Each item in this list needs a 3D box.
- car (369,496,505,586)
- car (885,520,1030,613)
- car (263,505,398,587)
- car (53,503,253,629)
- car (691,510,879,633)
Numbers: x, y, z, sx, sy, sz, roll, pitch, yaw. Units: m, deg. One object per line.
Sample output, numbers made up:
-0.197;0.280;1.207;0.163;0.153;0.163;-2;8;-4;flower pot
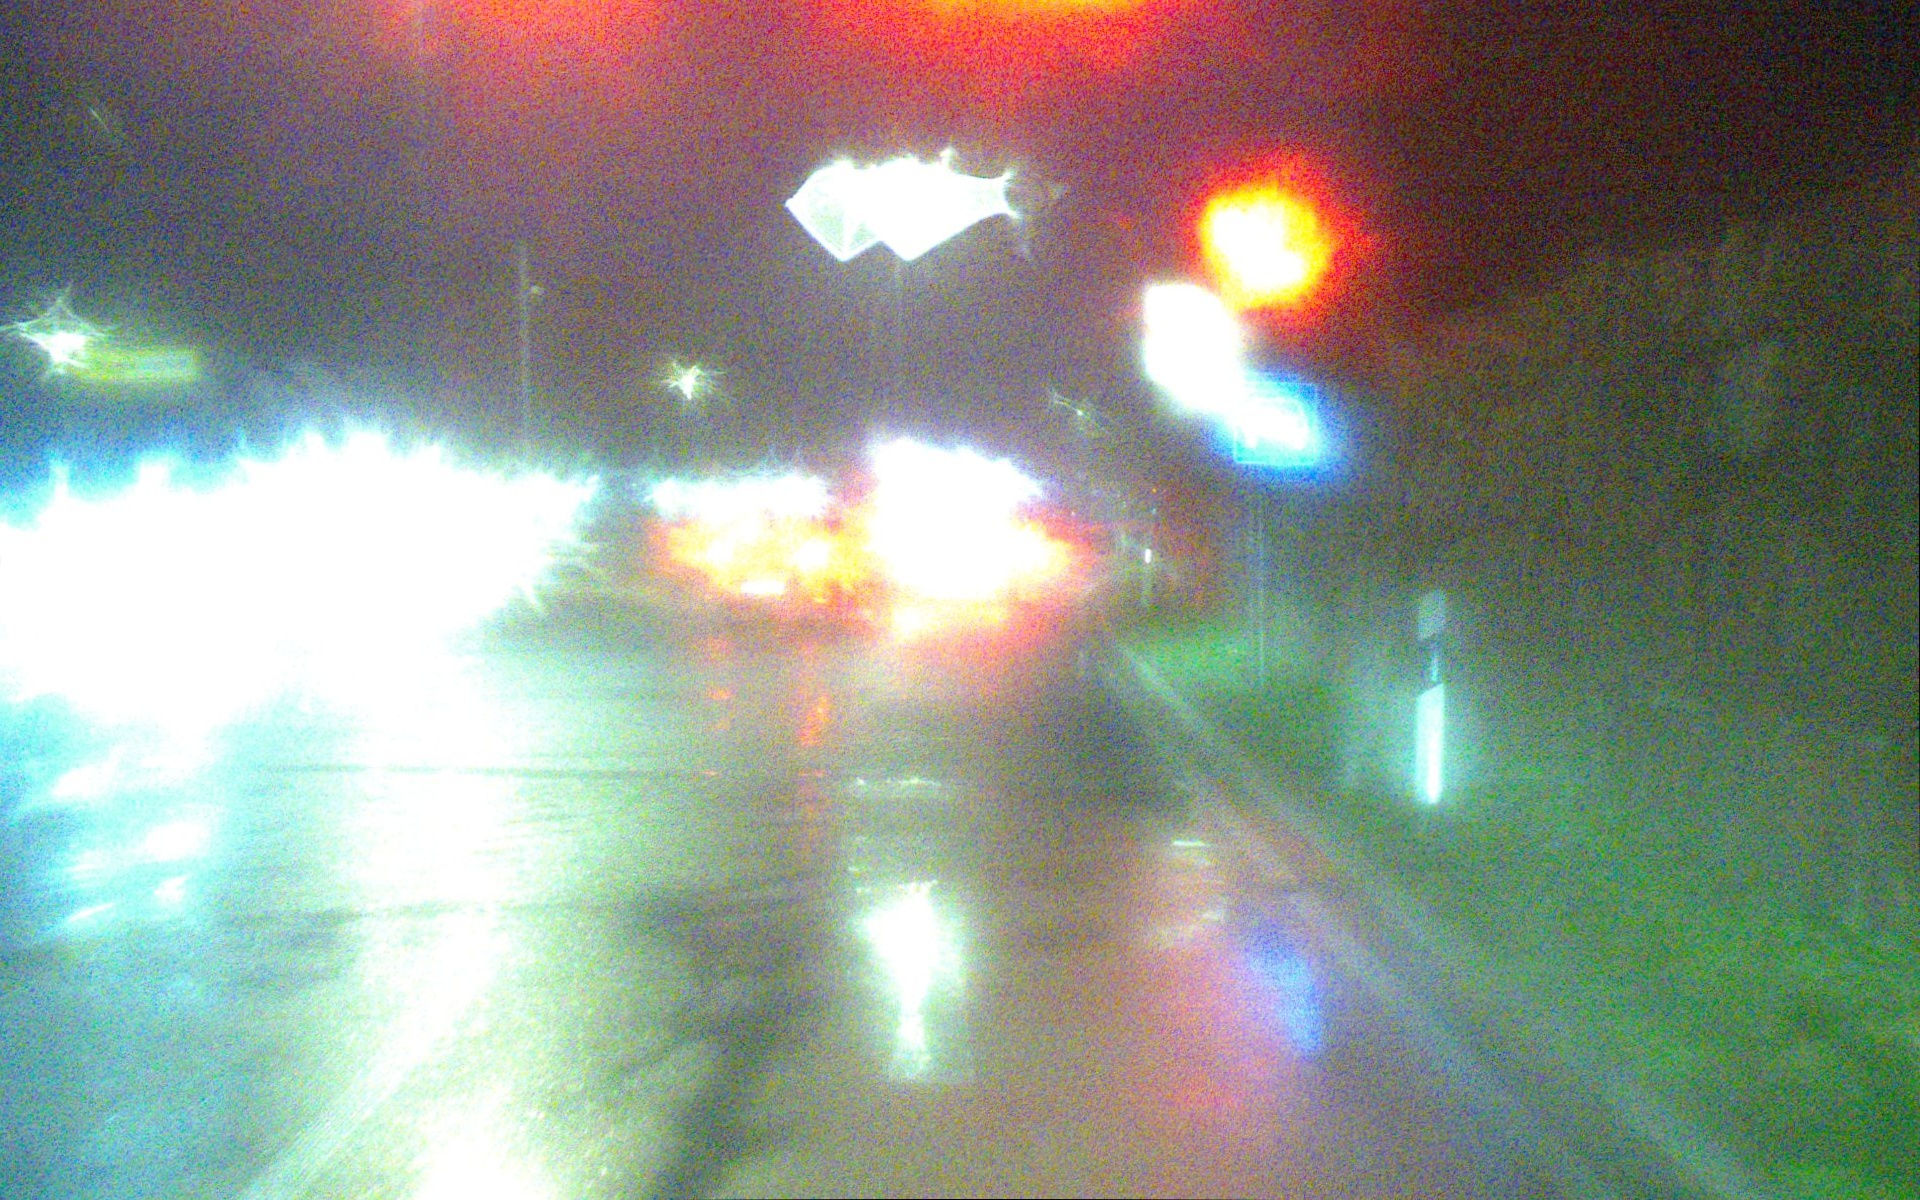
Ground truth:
-9.182;-1.022;60.617;1.585;1.520;3.651;1;1;4;car
-0.020;-0.514;52.462;2.107;1.335;4.294;1;1;0;car
-12.208;-1.031;66.853;1.993;1.525;4.000;1;1;-2;car
-10.663;-0.484;45.721;1.698;1.566;4.712;1;1;-2;car
-2.124;-0.360;42.871;2.103;1.434;4.000;1;1;0;car
